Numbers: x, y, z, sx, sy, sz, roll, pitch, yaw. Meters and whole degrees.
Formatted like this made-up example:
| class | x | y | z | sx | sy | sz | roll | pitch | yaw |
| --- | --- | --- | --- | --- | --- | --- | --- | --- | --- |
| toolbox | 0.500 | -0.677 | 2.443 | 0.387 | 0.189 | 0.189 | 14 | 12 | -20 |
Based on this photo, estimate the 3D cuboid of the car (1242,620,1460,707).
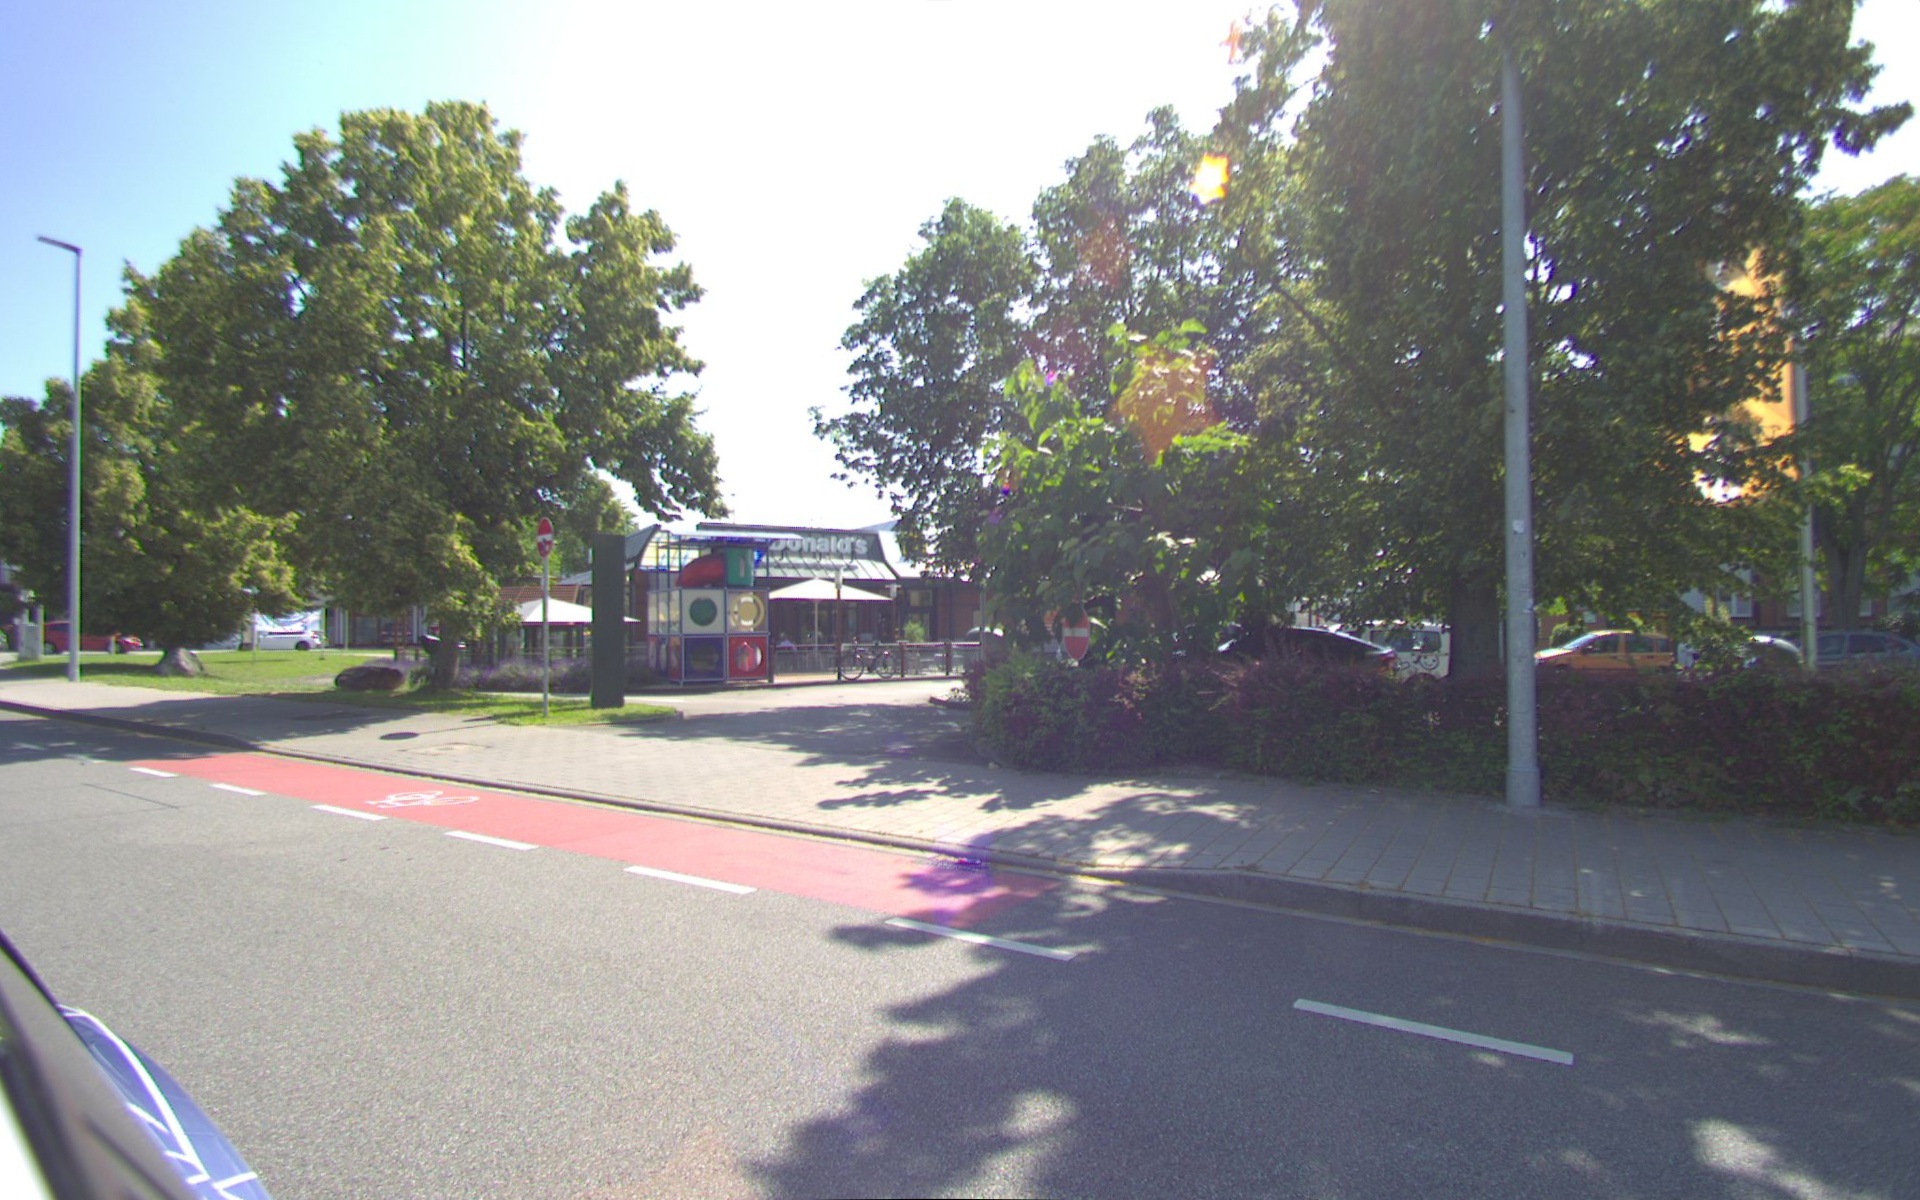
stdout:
| class | x | y | z | sx | sy | sz | roll | pitch | yaw |
| --- | --- | --- | --- | --- | --- | --- | --- | --- | --- |
| car | 8.562 | 1.377 | 22.499 | 4.180 | 1.812 | 1.755 | -1 | -1 | 9 |

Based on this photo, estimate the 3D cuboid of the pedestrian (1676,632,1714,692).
| class | x | y | z | sx | sy | sz | roll | pitch | yaw |
| --- | --- | --- | --- | --- | --- | --- | --- | --- | --- |
| pedestrian | 20.064 | 1.674 | 27.645 | 0.686 | 1.602 | 0.505 | -1 | -1 | 21 |

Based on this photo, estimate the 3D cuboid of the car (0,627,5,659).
| class | x | y | z | sx | sy | sz | roll | pitch | yaw |
| --- | --- | --- | --- | --- | --- | --- | --- | --- | --- |
| car | -51.531 | 2.220 | 51.249 | 4.296 | 1.639 | 1.837 | 1 | 1 | -30 |

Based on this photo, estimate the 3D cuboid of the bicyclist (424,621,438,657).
| class | x | y | z | sx | sy | sz | roll | pitch | yaw |
| --- | --- | --- | --- | --- | --- | --- | --- | --- | --- |
| bicyclist | -28.515 | 2.121 | 54.560 | 0.646 | 1.910 | 0.554 | 1 | 0 | -30 |

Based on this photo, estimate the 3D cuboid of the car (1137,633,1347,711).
| class | x | y | z | sx | sy | sz | roll | pitch | yaw |
| --- | --- | --- | --- | --- | --- | --- | --- | --- | --- |
| car | 5.668 | 1.430 | 20.756 | 3.955 | 1.505 | 1.651 | 0 | -2 | 9 |

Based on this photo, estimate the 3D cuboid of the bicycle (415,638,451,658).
| class | x | y | z | sx | sy | sz | roll | pitch | yaw |
| --- | --- | --- | --- | --- | --- | --- | --- | --- | --- |
| bicycle | -28.428 | 2.580 | 54.623 | 1.696 | 1.051 | 0.584 | 1 | 0 | -30 |

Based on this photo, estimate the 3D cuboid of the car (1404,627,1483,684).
| class | x | y | z | sx | sy | sz | roll | pitch | yaw |
| --- | --- | --- | --- | --- | --- | --- | --- | --- | --- |
| car | 14.369 | 1.609 | 30.237 | 1.607 | 1.543 | 3.591 | -1 | -1 | 18 |

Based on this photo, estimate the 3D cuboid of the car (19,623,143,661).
| class | x | y | z | sx | sy | sz | roll | pitch | yaw |
| --- | --- | --- | --- | --- | --- | --- | --- | --- | --- |
| car | -42.741 | 2.018 | 49.357 | 4.296 | 1.691 | 1.837 | 1 | 1 | -32 |

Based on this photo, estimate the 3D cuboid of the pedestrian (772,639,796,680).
| class | x | y | z | sx | sy | sz | roll | pitch | yaw |
| --- | --- | --- | --- | --- | --- | --- | --- | --- | --- |
| pedestrian | -5.658 | 1.904 | 32.489 | 0.543 | 1.219 | 0.594 | -4 | 3 | -24 |

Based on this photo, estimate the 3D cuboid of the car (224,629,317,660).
| class | x | y | z | sx | sy | sz | roll | pitch | yaw |
| --- | --- | --- | --- | --- | --- | --- | --- | --- | --- |
| car | -39.748 | 2.567 | 58.443 | 4.296 | 1.639 | 1.837 | 1 | 1 | -30 |

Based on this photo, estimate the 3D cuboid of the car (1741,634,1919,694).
| class | x | y | z | sx | sy | sz | roll | pitch | yaw |
| --- | --- | --- | --- | --- | --- | --- | --- | --- | --- |
| car | 24.401 | 1.726 | 28.100 | 4.162 | 1.529 | 1.744 | -1 | -1 | 35 |

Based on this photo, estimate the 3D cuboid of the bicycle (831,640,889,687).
| class | x | y | z | sx | sy | sz | roll | pitch | yaw |
| --- | --- | --- | --- | --- | --- | --- | --- | --- | --- |
| bicycle | -2.756 | 1.739 | 28.062 | 1.584 | 1.195 | 0.311 | -1 | 1 | -27 |

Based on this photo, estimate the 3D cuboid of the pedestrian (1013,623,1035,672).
| class | x | y | z | sx | sy | sz | roll | pitch | yaw |
| --- | --- | --- | --- | --- | --- | --- | --- | --- | --- |
| pedestrian | 2.110 | 1.559 | 33.217 | 0.592 | 1.579 | 0.568 | -1 | -1 | 19 |

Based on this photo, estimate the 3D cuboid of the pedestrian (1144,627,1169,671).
| class | x | y | z | sx | sy | sz | roll | pitch | yaw |
| --- | --- | --- | --- | --- | --- | --- | --- | --- | --- |
| pedestrian | 7.462 | 1.843 | 38.369 | 0.827 | 1.650 | 0.783 | -1 | -2 | 20 |

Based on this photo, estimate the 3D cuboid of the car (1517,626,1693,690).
| class | x | y | z | sx | sy | sz | roll | pitch | yaw |
| --- | --- | --- | --- | --- | --- | --- | --- | --- | --- |
| car | 17.414 | 1.535 | 27.506 | 3.693 | 1.644 | 1.659 | -1 | -1 | 18 |
